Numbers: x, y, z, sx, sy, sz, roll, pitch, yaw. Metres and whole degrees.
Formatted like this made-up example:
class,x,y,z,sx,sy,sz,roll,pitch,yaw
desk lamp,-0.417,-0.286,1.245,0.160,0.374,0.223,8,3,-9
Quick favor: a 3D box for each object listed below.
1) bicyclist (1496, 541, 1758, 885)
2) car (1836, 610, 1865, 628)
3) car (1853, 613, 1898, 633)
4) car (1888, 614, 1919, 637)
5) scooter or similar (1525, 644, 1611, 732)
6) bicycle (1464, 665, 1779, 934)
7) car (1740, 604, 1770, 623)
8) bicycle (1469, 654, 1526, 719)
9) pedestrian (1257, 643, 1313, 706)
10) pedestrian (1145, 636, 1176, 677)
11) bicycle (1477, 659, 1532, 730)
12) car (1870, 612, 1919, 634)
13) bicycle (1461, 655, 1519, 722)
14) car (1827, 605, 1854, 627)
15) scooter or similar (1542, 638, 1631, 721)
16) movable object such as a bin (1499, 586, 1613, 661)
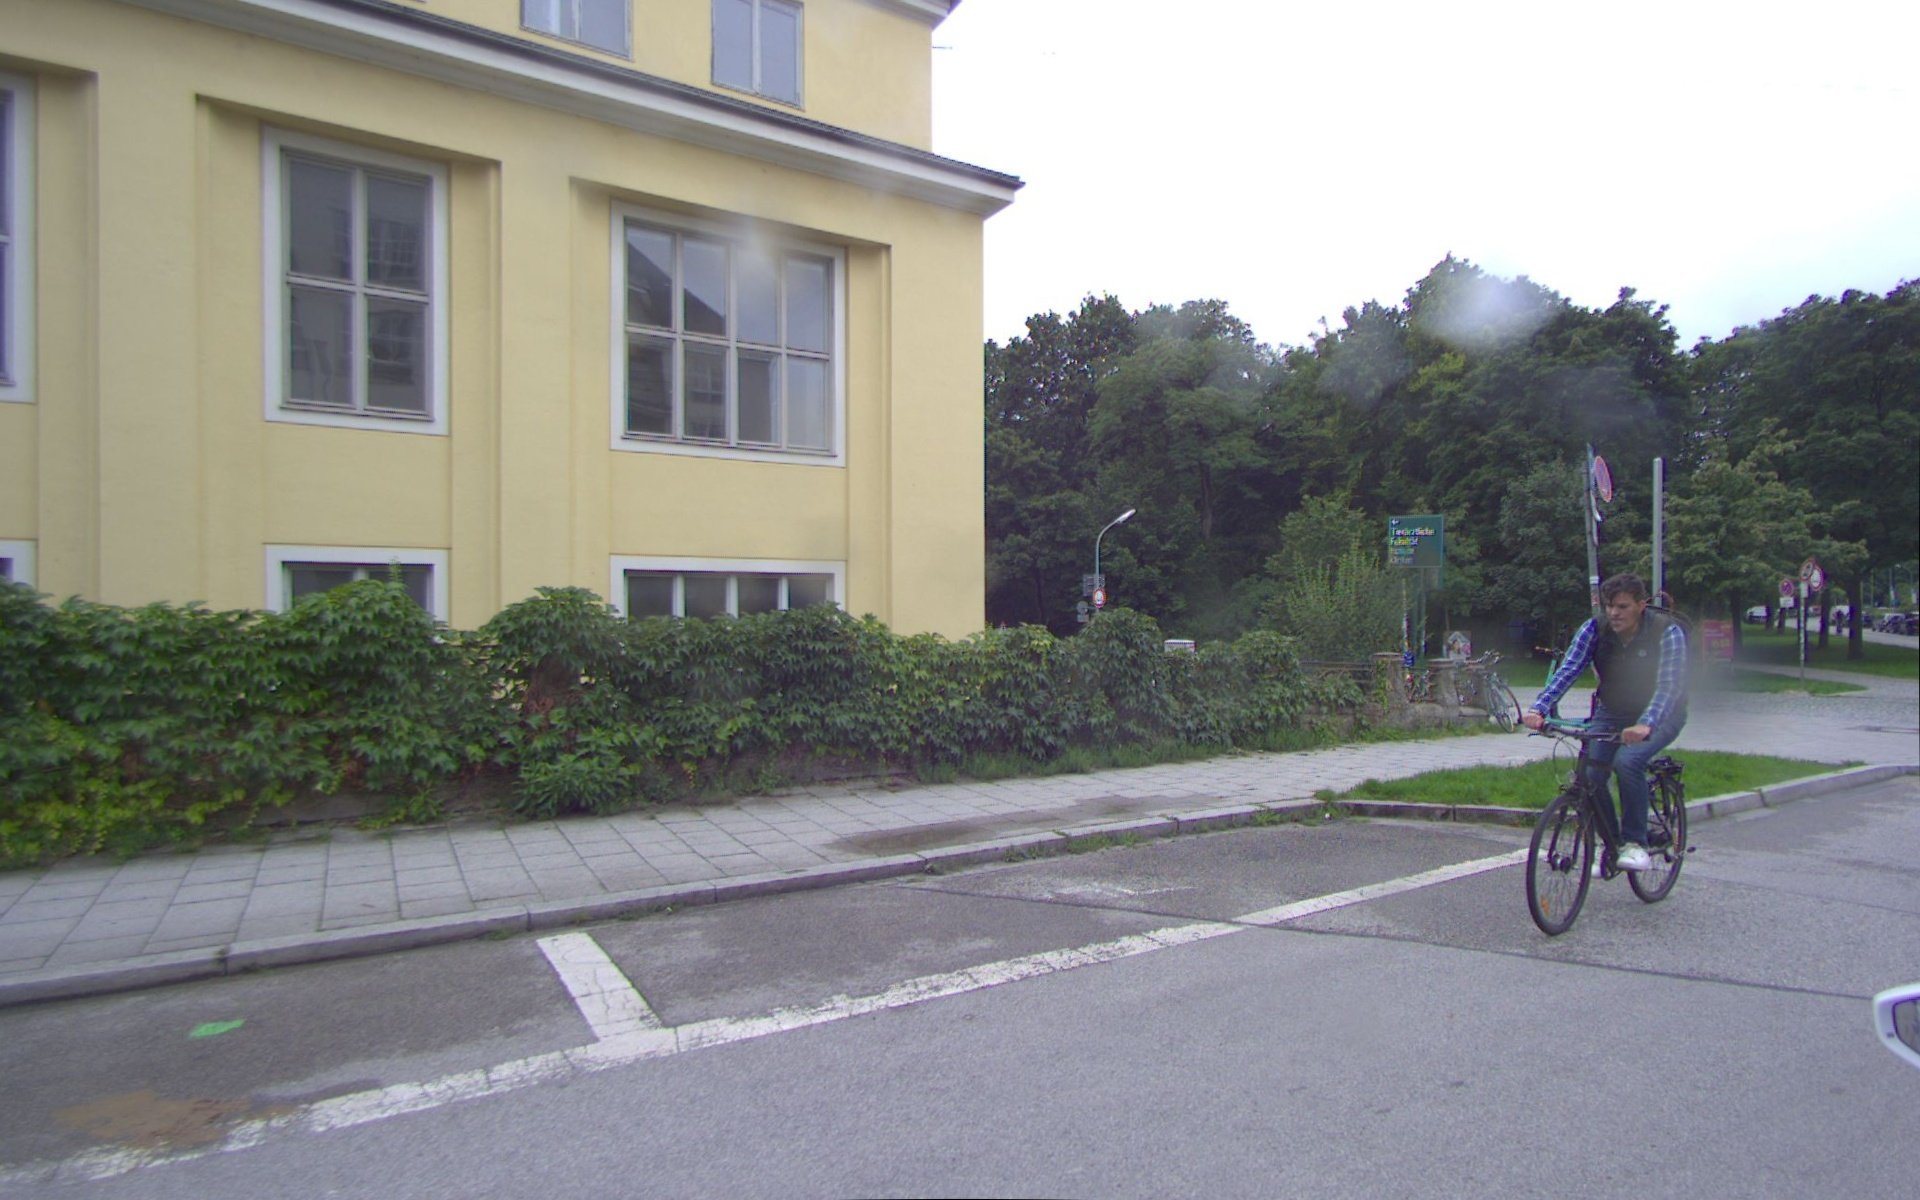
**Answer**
class,x,y,z,sx,sy,sz,roll,pitch,yaw
bicyclist,3.558,0.546,5.378,0.936,1.629,0.858,1,-1,-32
car,82.818,1.804,93.474,1.971,1.627,3.979,-1,-2,41
car,73.896,1.860,81.110,1.965,1.627,3.991,0,-2,32
car,67.952,1.840,71.540,1.965,1.627,3.991,0,-2,32
scooter or similar,8.834,1.256,14.627,0.340,1.204,1.114,0,0,-21
bicycle,3.611,0.967,5.423,1.981,1.174,0.666,2,-1,-32
car,77.229,1.345,97.645,1.966,1.713,3.989,-1,-2,34
bicycle,9.050,1.432,16.961,0.295,1.003,1.585,0,-2,7
pedestrian,7.271,1.650,22.473,0.985,1.347,0.768,1,-2,-38
pedestrian,8.518,2.397,42.728,0.879,1.710,0.938,1,-2,-28
bicycle,8.136,1.387,14.990,0.535,0.986,1.150,0,-2,38
car,70.931,1.787,76.318,1.965,1.627,3.991,0,-2,32
bicycle,8.680,1.424,16.484,0.295,1.003,1.585,0,-2,7
car,88.333,1.641,100.811,1.971,2.188,3.979,-1,-2,41
scooter or similar,9.432,1.191,15.147,1.096,1.204,0.345,0,0,7
movable object such as a bin,26.680,1.060,45.076,3.920,3.256,2.001,0,-1,3
